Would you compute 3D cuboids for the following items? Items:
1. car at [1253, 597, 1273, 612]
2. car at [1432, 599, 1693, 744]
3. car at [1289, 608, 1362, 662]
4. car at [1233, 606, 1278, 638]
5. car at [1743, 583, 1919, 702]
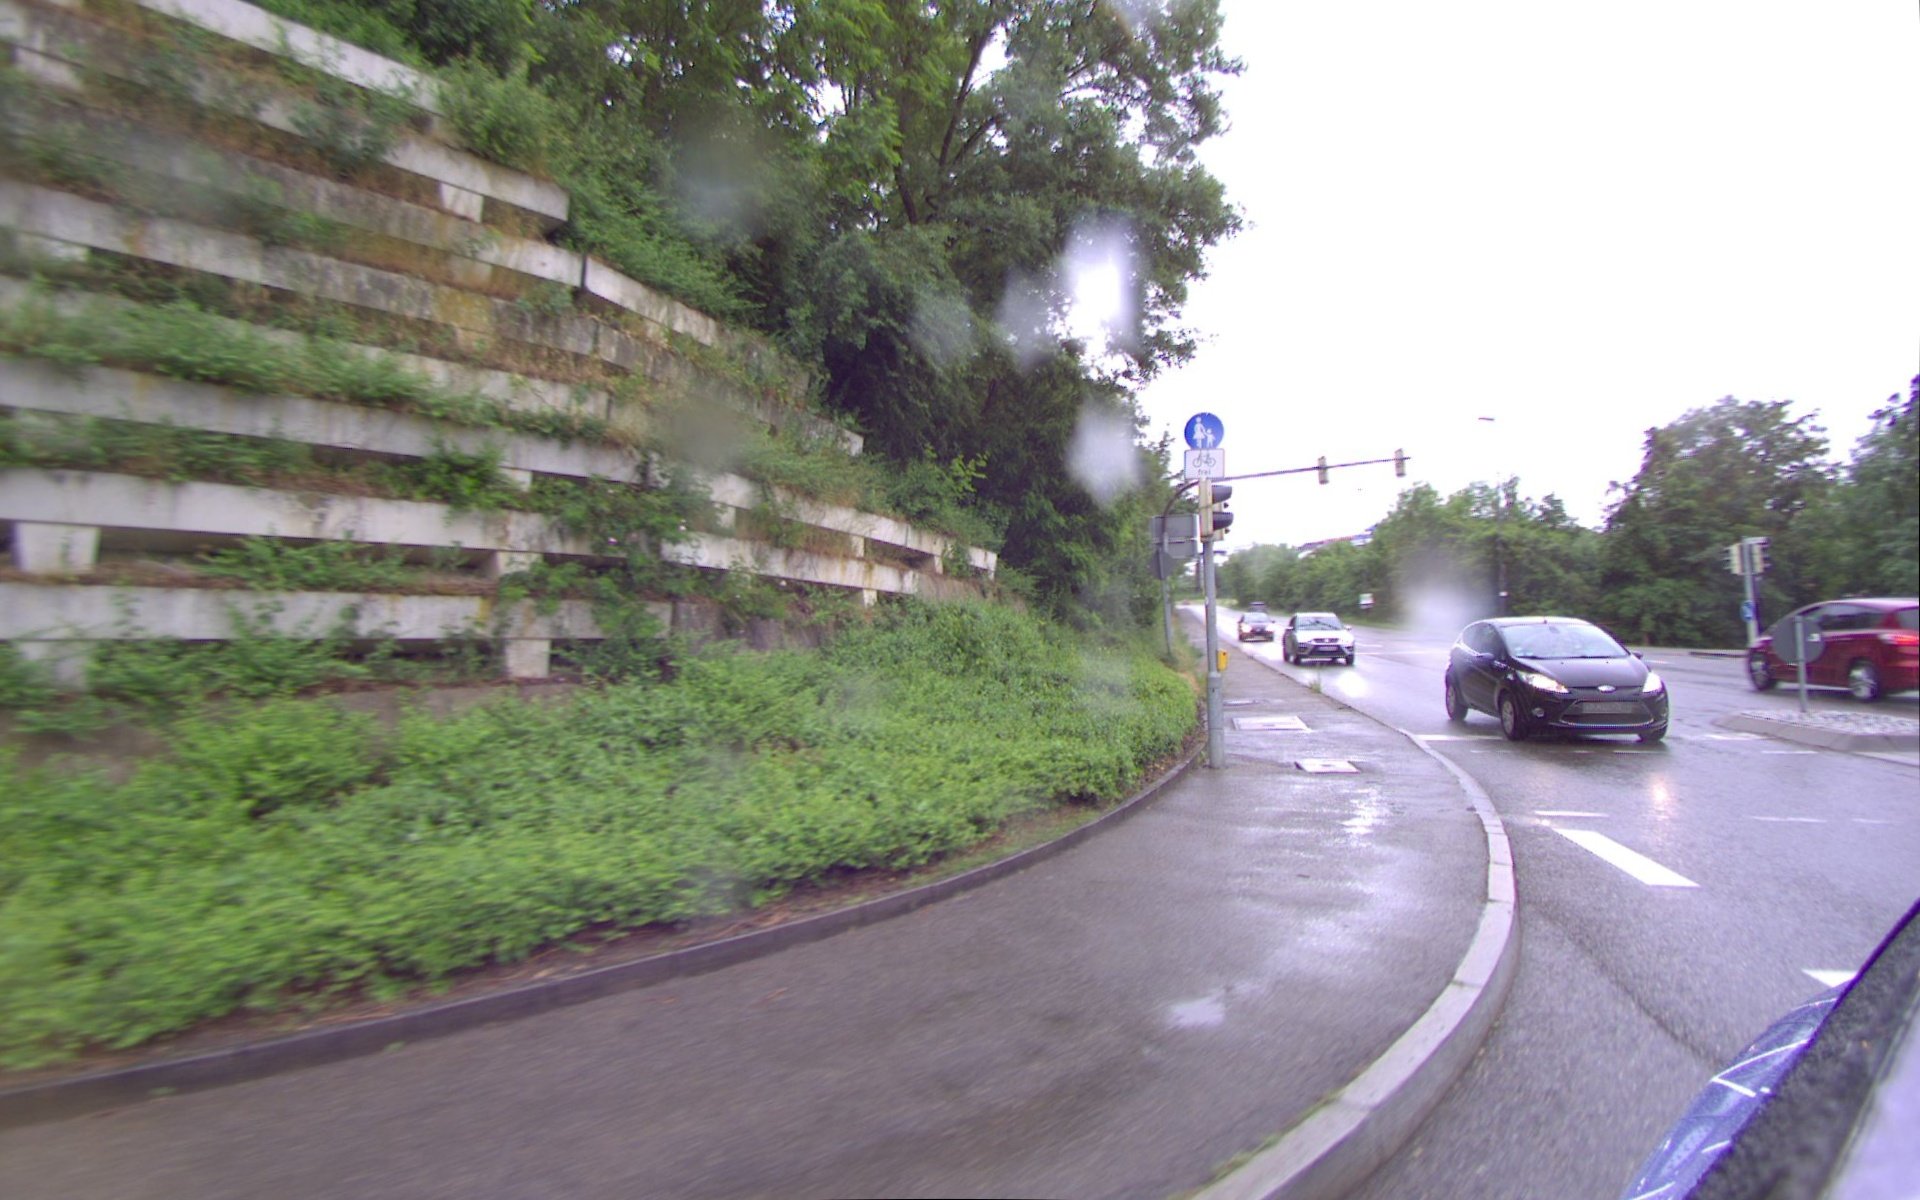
[{"bbox_3d":[32.675,0.472,109.326,1.711,1.594,3.855,0,-1,12],"label":"car"},{"bbox_3d":[7.592,0.813,13.207,1.656,1.591,3.875,-1,-1,11],"label":"car"},{"bbox_3d":[11.176,1.021,31.130,1.658,1.527,4.135,0,-1,14],"label":"car"},{"bbox_3d":[14.971,1.087,51.420,1.655,1.527,4.143,0,-1,9],"label":"car"},{"bbox_3d":[15.350,0.642,16.751,1.874,1.736,4.665,0,-1,12],"label":"car"}]
